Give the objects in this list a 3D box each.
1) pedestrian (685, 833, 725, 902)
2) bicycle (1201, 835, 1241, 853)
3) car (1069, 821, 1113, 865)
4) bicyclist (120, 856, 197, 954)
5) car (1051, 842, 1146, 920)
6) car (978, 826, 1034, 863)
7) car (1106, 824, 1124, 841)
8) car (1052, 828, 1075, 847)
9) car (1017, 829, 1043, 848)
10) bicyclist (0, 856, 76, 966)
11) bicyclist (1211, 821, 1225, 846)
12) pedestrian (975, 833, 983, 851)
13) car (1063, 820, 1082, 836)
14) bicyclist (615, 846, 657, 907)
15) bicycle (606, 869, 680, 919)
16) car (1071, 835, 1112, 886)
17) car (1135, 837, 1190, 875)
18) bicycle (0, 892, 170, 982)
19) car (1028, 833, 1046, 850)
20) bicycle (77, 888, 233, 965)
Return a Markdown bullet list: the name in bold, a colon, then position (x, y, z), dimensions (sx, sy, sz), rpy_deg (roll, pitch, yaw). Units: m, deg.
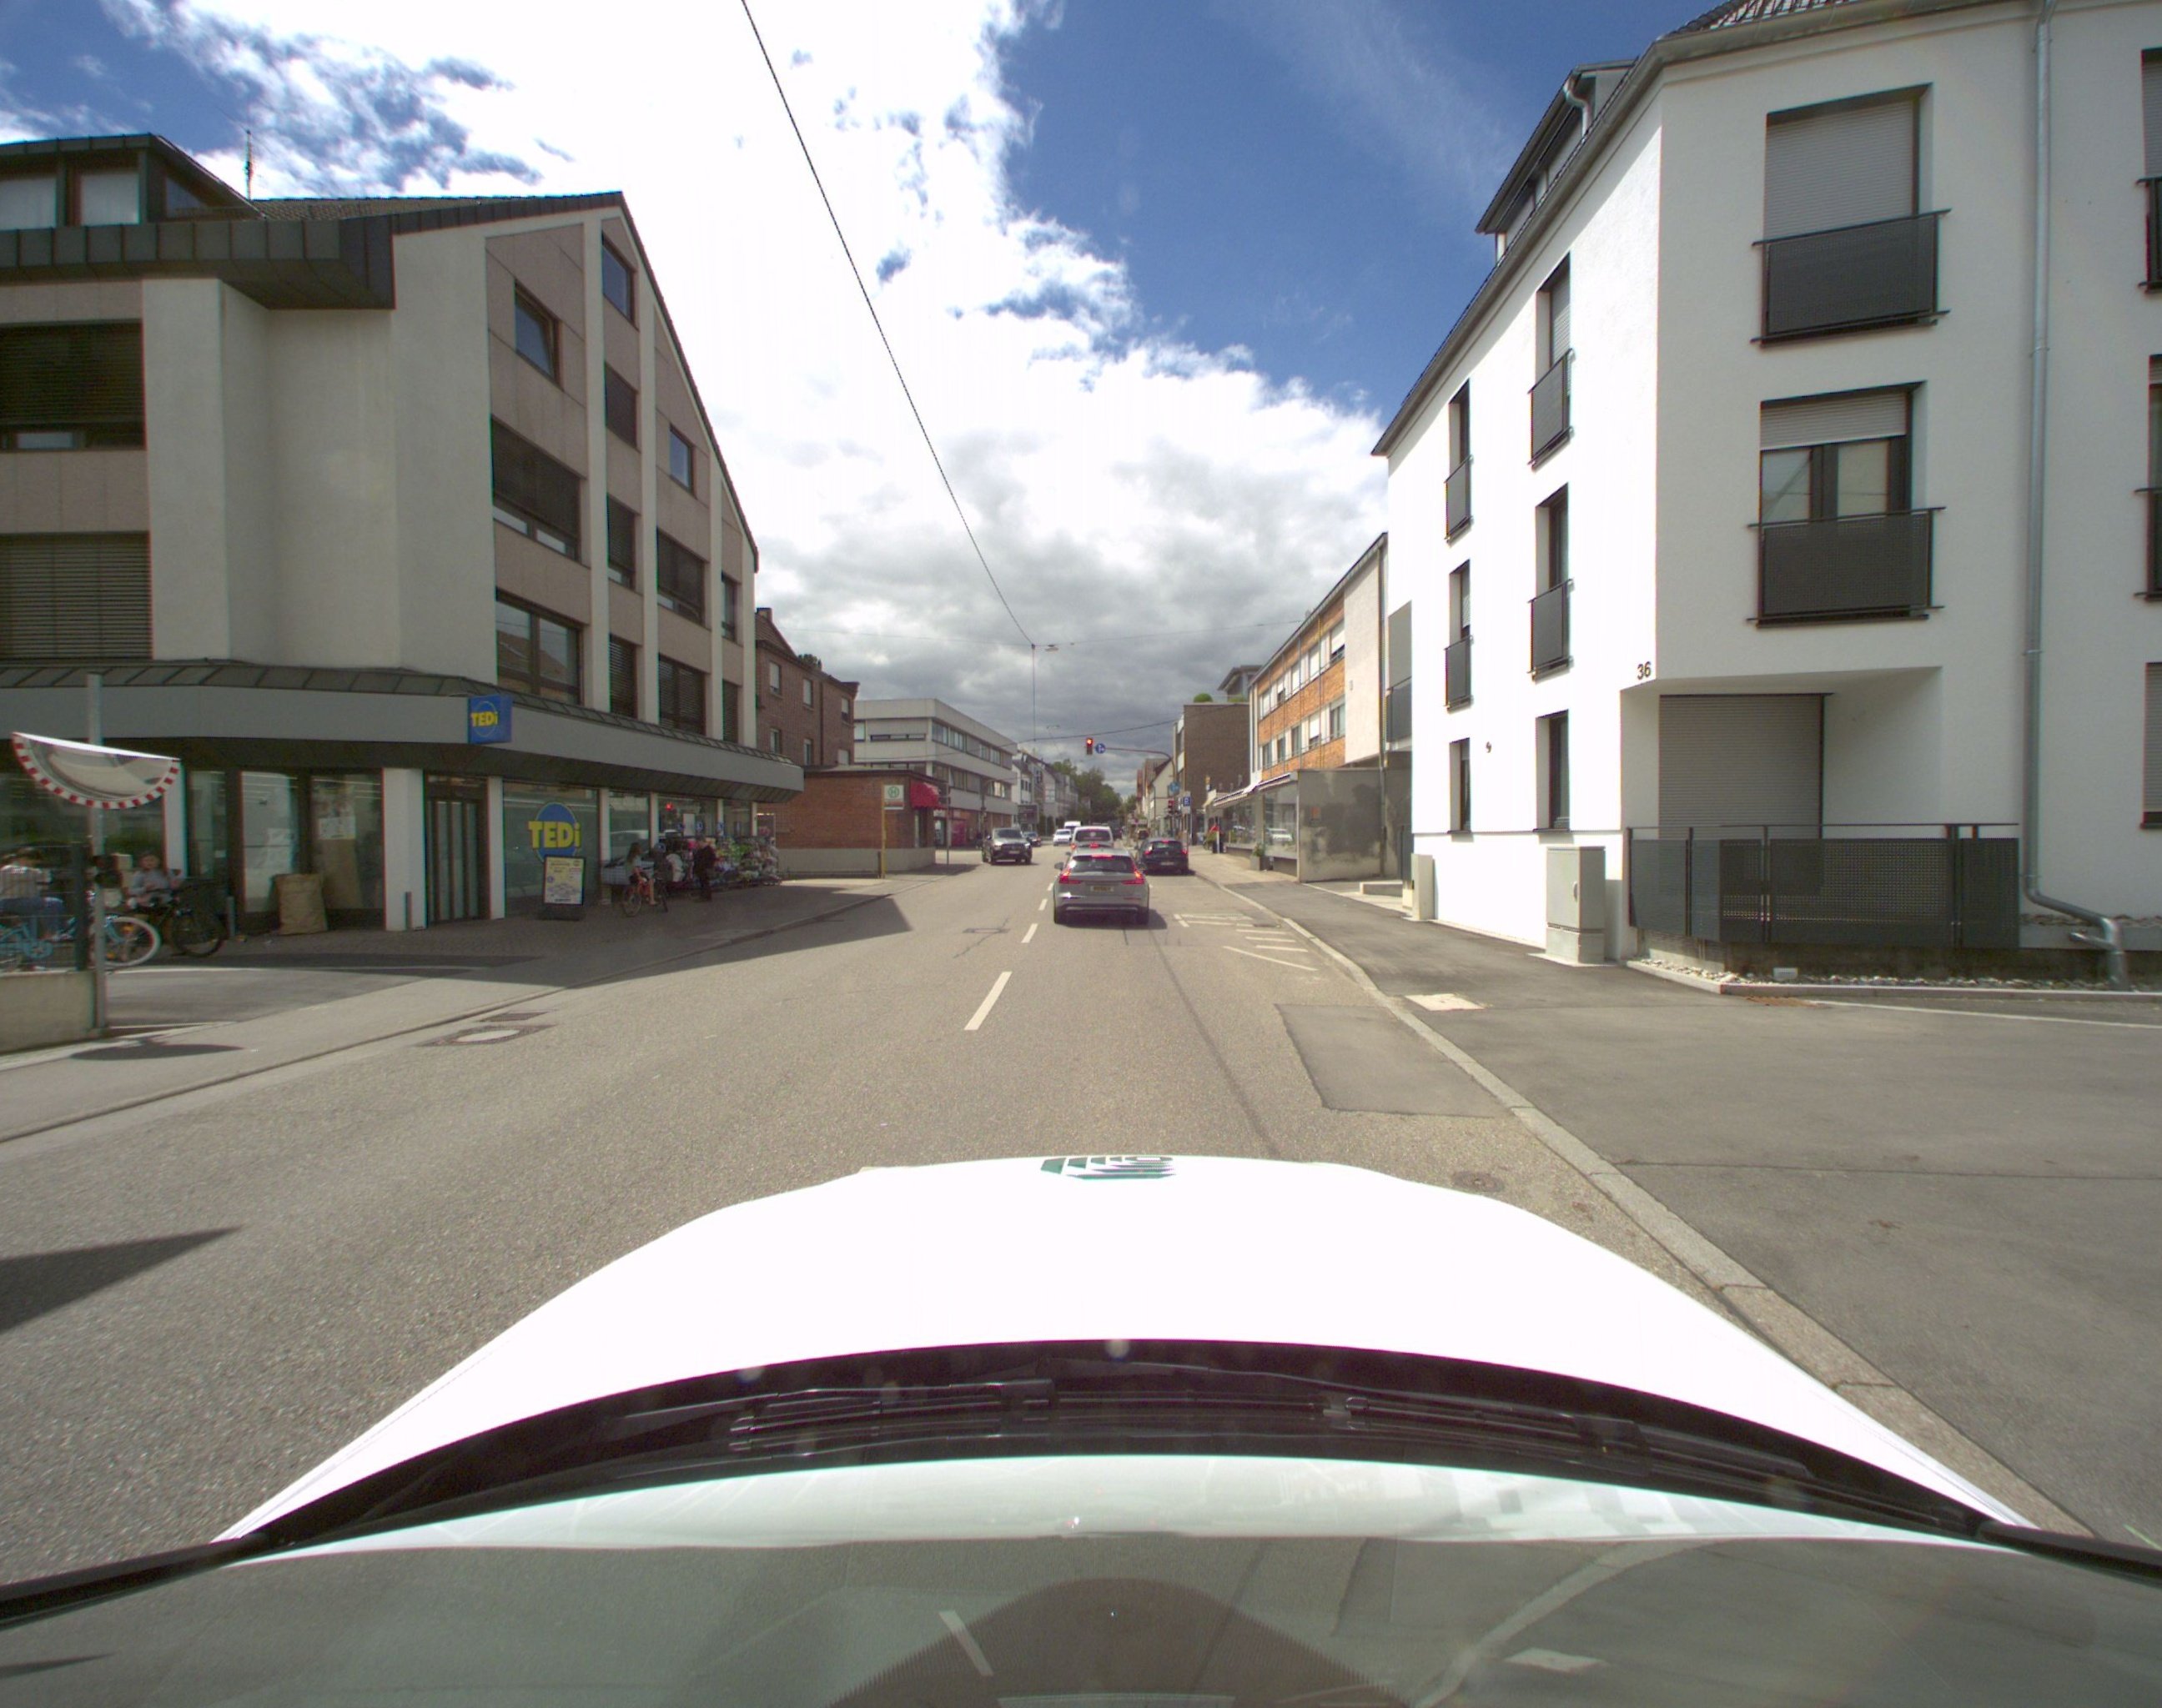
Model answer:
- **pedestrian**: position (-8.799, 0.312, 19.073), dimensions (0.624, 1.602, 0.564), rpy_deg (0, -1, 8)
- **bicycle**: position (9.065, -0.630, 52.800), dimensions (2.517, 1.174, 0.585), rpy_deg (0, 0, -2)
- **car**: position (0.491, -0.451, 36.259), dimensions (1.829, 1.862, 3.852), rpy_deg (0, 0, 2)
- **bicyclist**: position (-11.423, 0.620, 10.092), dimensions (0.496, 1.181, 0.397), rpy_deg (0, 0, 1)
- **car**: position (0.392, 0.507, 16.977), dimensions (1.737, 1.417, 4.002), rpy_deg (-1, 0, 2)
- **car**: position (-3.773, -0.430, 40.297), dimensions (1.844, 1.726, 4.325), rpy_deg (-1, 0, -18)
- **car**: position (4.851, -3.010, 116.580), dimensions (2.427, 2.318, 5.329), rpy_deg (1, 0, 2)
- **car**: position (-1.691, -1.600, 79.425), dimensions (1.864, 1.640, 4.005), rpy_deg (1, -1, 4)
- **car**: position (-4.753, -1.390, 75.948), dimensions (1.864, 1.640, 4.005), rpy_deg (1, -1, 4)
- **bicyclist**: position (-11.601, 0.610, 9.057), dimensions (0.392, 1.181, 0.502), rpy_deg (0, 0, 42)
- **bicyclist**: position (8.901, -1.346, 52.826), dimensions (0.770, 1.606, 0.580), rpy_deg (0, -1, -2)
- **pedestrian**: position (-8.628, -1.016, 68.966), dimensions (0.512, 1.436, 0.490), rpy_deg (-1, 0, 3)
- **car**: position (-0.932, -2.926, 93.648), dimensions (1.864, 1.640, 4.004), rpy_deg (-1, -1, 4)
- **bicyclist**: position (-8.782, 0.439, 16.082), dimensions (0.456, 1.179, 0.625), rpy_deg (-1, 0, 2)
- **bicycle**: position (-8.651, 0.760, 16.160), dimensions (0.465, 0.861, 1.778), rpy_deg (1, 1, 2)
- **car**: position (0.374, 0.173, 27.235), dimensions (1.269, 1.527, 3.052), rpy_deg (-1, 3, 1)
- **car**: position (3.175, 0.016, 32.497), dimensions (1.748, 1.370, 3.999), rpy_deg (0, 2, -1)
- **bicycle**: position (-11.503, 0.924, 9.157), dimensions (0.299, 0.896, 1.663), rpy_deg (-1, 0, 42)
- **car**: position (-5.492, -1.489, 101.223), dimensions (1.987, 2.014, 4.000), rpy_deg (1, -1, 0)
- **bicycle**: position (-11.434, 0.885, 10.072), dimensions (1.546, 0.896, 0.303), rpy_deg (-1, 0, -1)
